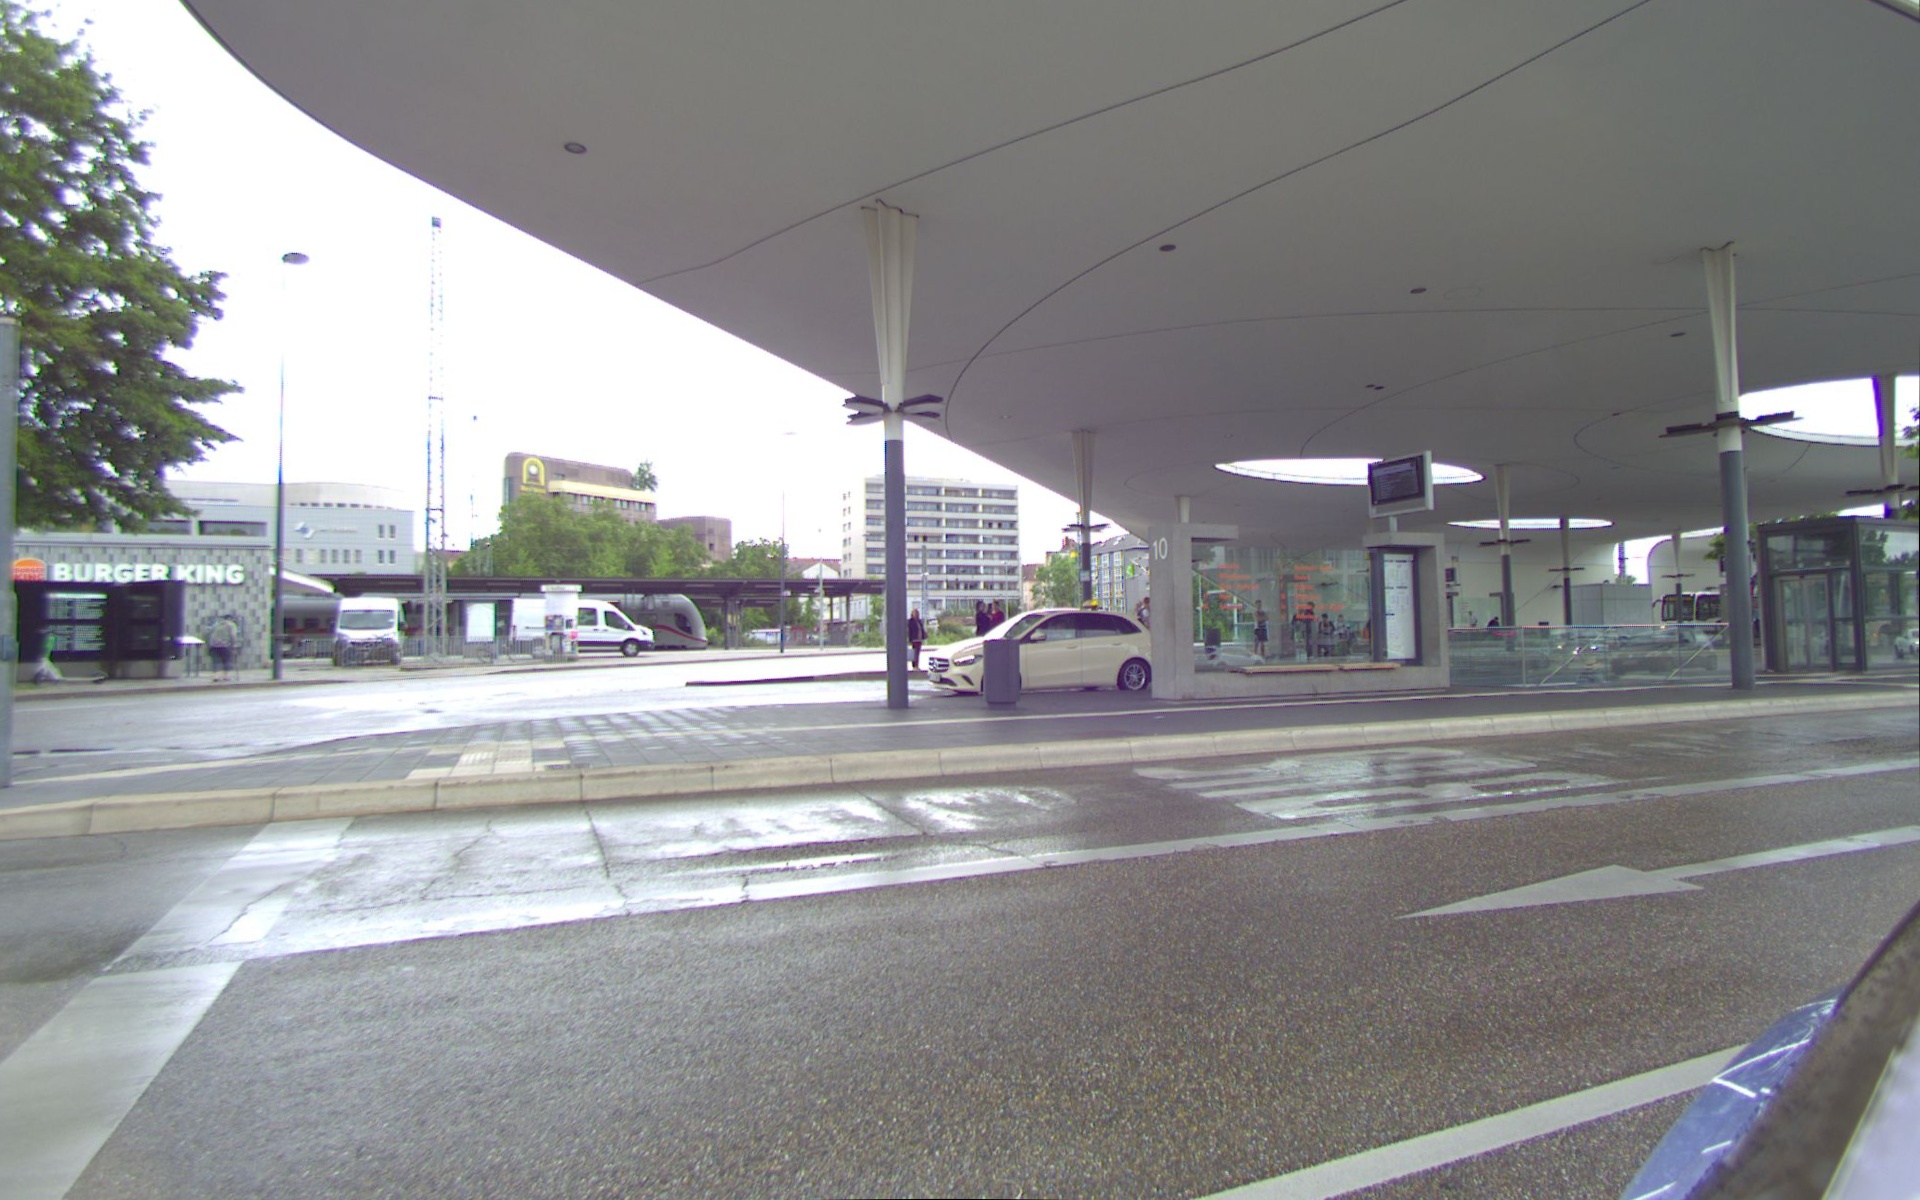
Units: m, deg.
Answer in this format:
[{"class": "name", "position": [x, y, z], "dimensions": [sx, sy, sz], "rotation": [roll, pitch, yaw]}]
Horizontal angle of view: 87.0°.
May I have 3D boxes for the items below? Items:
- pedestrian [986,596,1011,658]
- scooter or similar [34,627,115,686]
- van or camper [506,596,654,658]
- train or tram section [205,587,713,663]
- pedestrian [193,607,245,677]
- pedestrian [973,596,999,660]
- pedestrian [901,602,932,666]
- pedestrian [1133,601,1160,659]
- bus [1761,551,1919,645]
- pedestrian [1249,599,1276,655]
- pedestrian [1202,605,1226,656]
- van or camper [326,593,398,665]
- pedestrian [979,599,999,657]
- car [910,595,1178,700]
[{"class": "pedestrian", "position": [0.962, 0.669, 25.322], "dimensions": [0.469, 1.533, 0.536], "rotation": [0, -1, -18]}, {"class": "scooter or similar", "position": [-19.246, 1.216, 22.013], "dimensions": [0.331, 1.197, 1.288], "rotation": [0, 0, 34]}, {"class": "van or camper", "position": [-16.125, 1.087, 43.080], "dimensions": [5.742, 2.464, 2.004], "rotation": [-1, 0, -23]}, {"class": "train or tram section", "position": [-31.080, 1.356, 65.914], "dimensions": [28.697, 4.235, 4.614], "rotation": [-1, 0, -23]}, {"class": "pedestrian", "position": [-16.918, 0.948, 23.114], "dimensions": [0.634, 1.549, 0.829], "rotation": [0, 0, 37]}, {"class": "pedestrian", "position": [0.635, 0.675, 24.621], "dimensions": [0.469, 1.533, 0.536], "rotation": [0, -1, -18]}, {"class": "pedestrian", "position": [-1.122, 0.876, 26.203], "dimensions": [0.726, 1.615, 0.643], "rotation": [0, 0, -8]}, {"class": "pedestrian", "position": [4.949, 0.786, 26.867], "dimensions": [0.524, 1.533, 0.480], "rotation": [0, -1, -19]}, {"class": "bus", "position": [34.789, -0.056, 37.370], "dimensions": [11.672, 3.121, 2.884], "rotation": [0, 0, -23]}, {"class": "pedestrian", "position": [8.493, 0.751, 28.404], "dimensions": [0.524, 1.533, 0.480], "rotation": [0, -1, -19]}, {"class": "pedestrian", "position": [7.732, 0.907, 30.791], "dimensions": [0.514, 1.533, 0.480], "rotation": [0, -1, -19]}, {"class": "van or camper", "position": [-22.177, 0.981, 37.742], "dimensions": [2.122, 2.464, 5.871], "rotation": [0, 0, -29]}, {"class": "pedestrian", "position": [0.784, 0.752, 27.305], "dimensions": [0.472, 1.533, 0.533], "rotation": [-1, -1, 12]}, {"class": "car", "position": [1.519, 0.777, 18.449], "dimensions": [4.447, 1.702, 2.004], "rotation": [-1, 0, -23]}]
